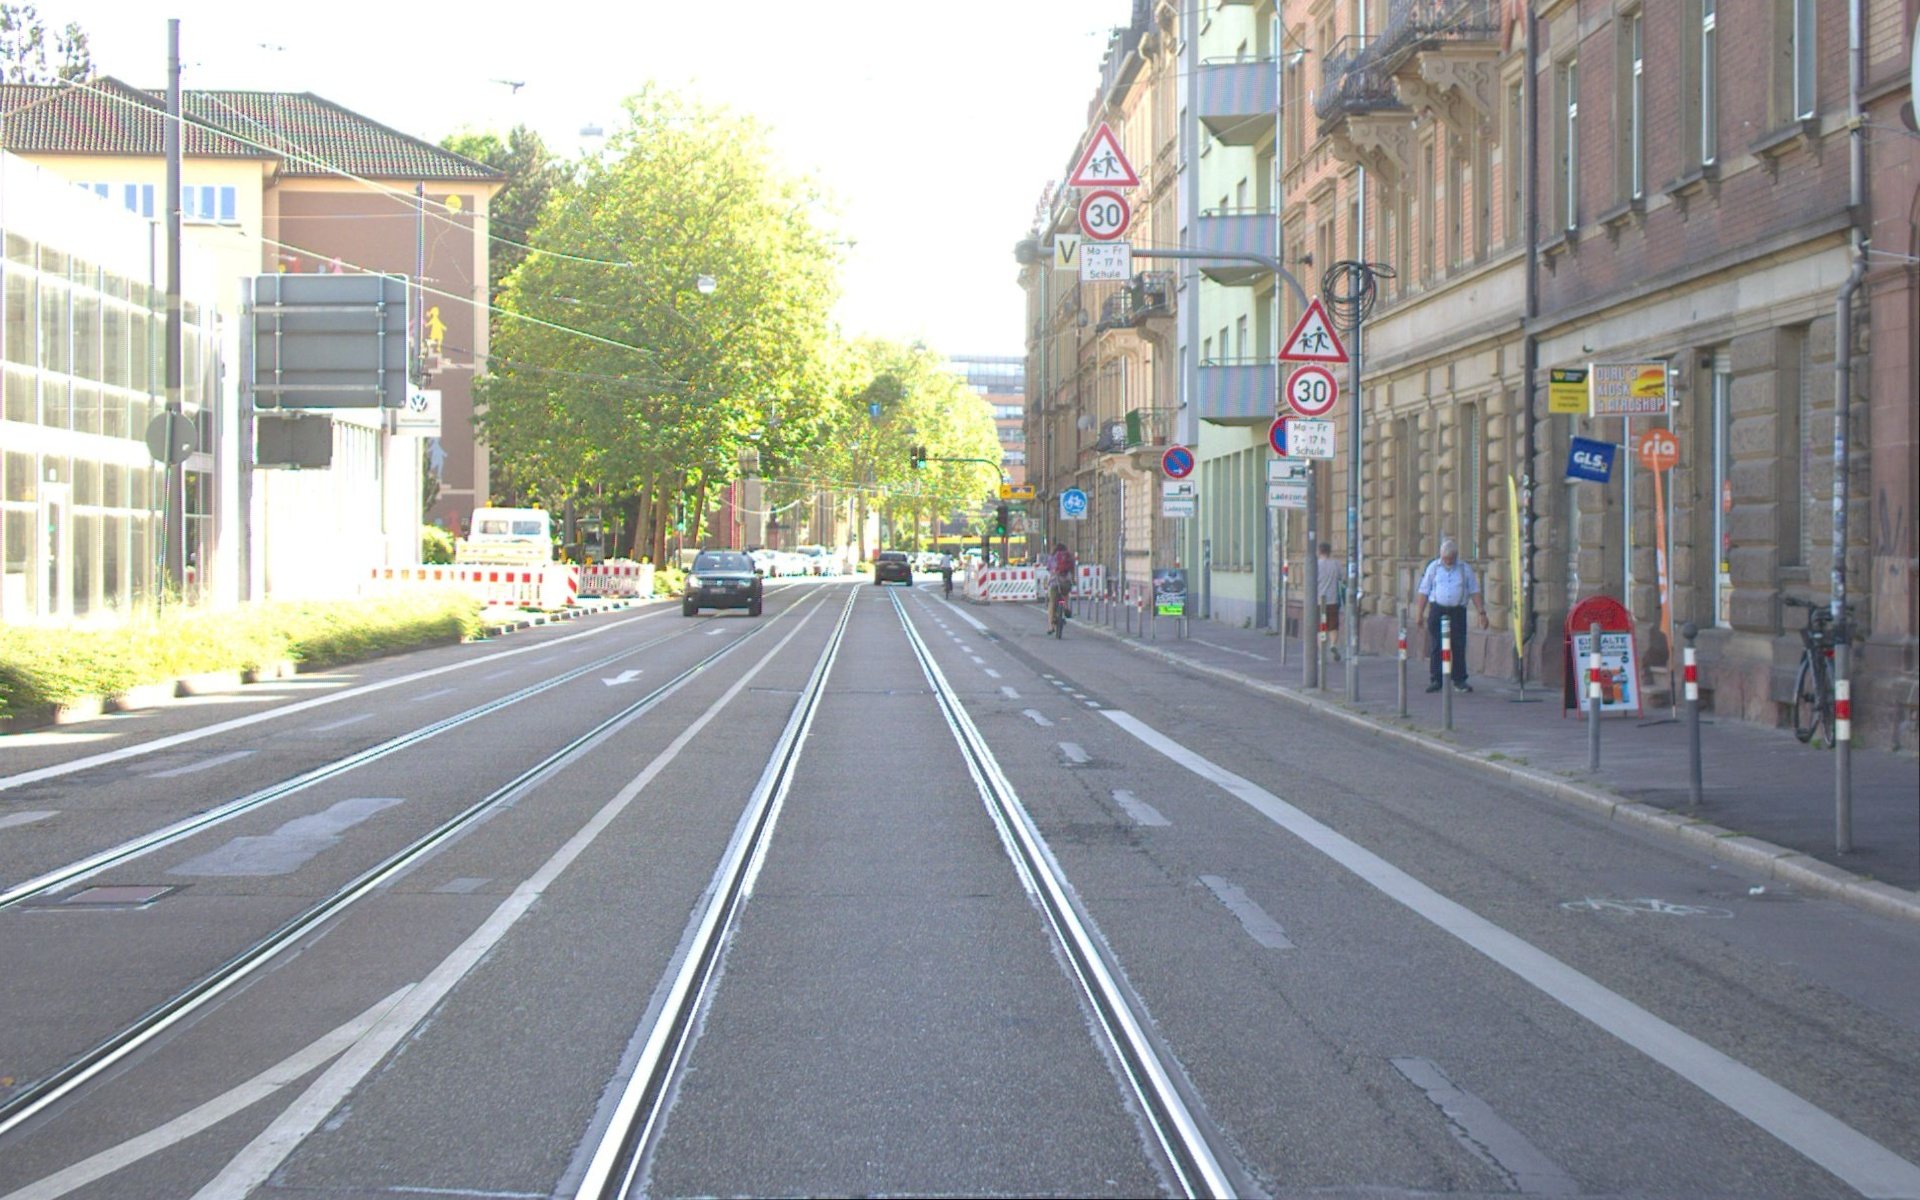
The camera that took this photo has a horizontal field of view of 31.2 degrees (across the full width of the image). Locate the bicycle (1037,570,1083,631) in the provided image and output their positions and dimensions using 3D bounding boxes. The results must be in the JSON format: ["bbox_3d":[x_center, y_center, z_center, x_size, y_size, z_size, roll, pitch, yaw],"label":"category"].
[{"bbox_3d":[1.896,-0.011,65.452,0.681,1.110,2.707,2,1,-2],"label":"bicycle"}]

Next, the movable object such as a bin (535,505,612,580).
[{"bbox_3d":[-14.290,-2.117,127.492,2.495,2.636,5.990,2,1,-4],"label":"movable object such as a bin"}]

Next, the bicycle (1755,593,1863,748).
[{"bbox_3d":[6.404,0.509,25.983,0.410,1.117,1.898,-1,0,3],"label":"bicycle"}]

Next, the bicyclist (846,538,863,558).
[{"bbox_3d":[-7.722,-3.781,251.221,1.078,1.423,1.146,2,0,7],"label":"bicyclist"}]

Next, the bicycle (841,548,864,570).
[{"bbox_3d":[-7.856,-2.987,251.321,1.234,1.567,2.896,2,0,6],"label":"bicycle"}]

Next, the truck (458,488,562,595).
[{"bbox_3d":[-12.592,-1.621,96.529,2.537,2.820,6.377,2,0,-5],"label":"truck"}]

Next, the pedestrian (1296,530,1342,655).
[{"bbox_3d":[4.910,-0.106,47.060,0.553,1.695,0.474,-2,0,3],"label":"pedestrian"}]

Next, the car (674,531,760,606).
[{"bbox_3d":[-5.845,-0.752,83.076,1.759,1.691,4.144,2,0,0],"label":"car"}]

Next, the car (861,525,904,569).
[{"bbox_3d":[-3.753,-2.576,167.663,1.993,2.007,4.000,2,0,-1],"label":"car"}]

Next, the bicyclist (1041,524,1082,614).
[{"bbox_3d":[1.922,-0.588,65.427,0.667,1.691,1.043,2,0,-2],"label":"bicyclist"}]

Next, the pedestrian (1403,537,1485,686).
[{"bbox_3d":[5.274,0.124,37.483,0.798,1.599,0.652,0,0,1],"label":"pedestrian"}]
